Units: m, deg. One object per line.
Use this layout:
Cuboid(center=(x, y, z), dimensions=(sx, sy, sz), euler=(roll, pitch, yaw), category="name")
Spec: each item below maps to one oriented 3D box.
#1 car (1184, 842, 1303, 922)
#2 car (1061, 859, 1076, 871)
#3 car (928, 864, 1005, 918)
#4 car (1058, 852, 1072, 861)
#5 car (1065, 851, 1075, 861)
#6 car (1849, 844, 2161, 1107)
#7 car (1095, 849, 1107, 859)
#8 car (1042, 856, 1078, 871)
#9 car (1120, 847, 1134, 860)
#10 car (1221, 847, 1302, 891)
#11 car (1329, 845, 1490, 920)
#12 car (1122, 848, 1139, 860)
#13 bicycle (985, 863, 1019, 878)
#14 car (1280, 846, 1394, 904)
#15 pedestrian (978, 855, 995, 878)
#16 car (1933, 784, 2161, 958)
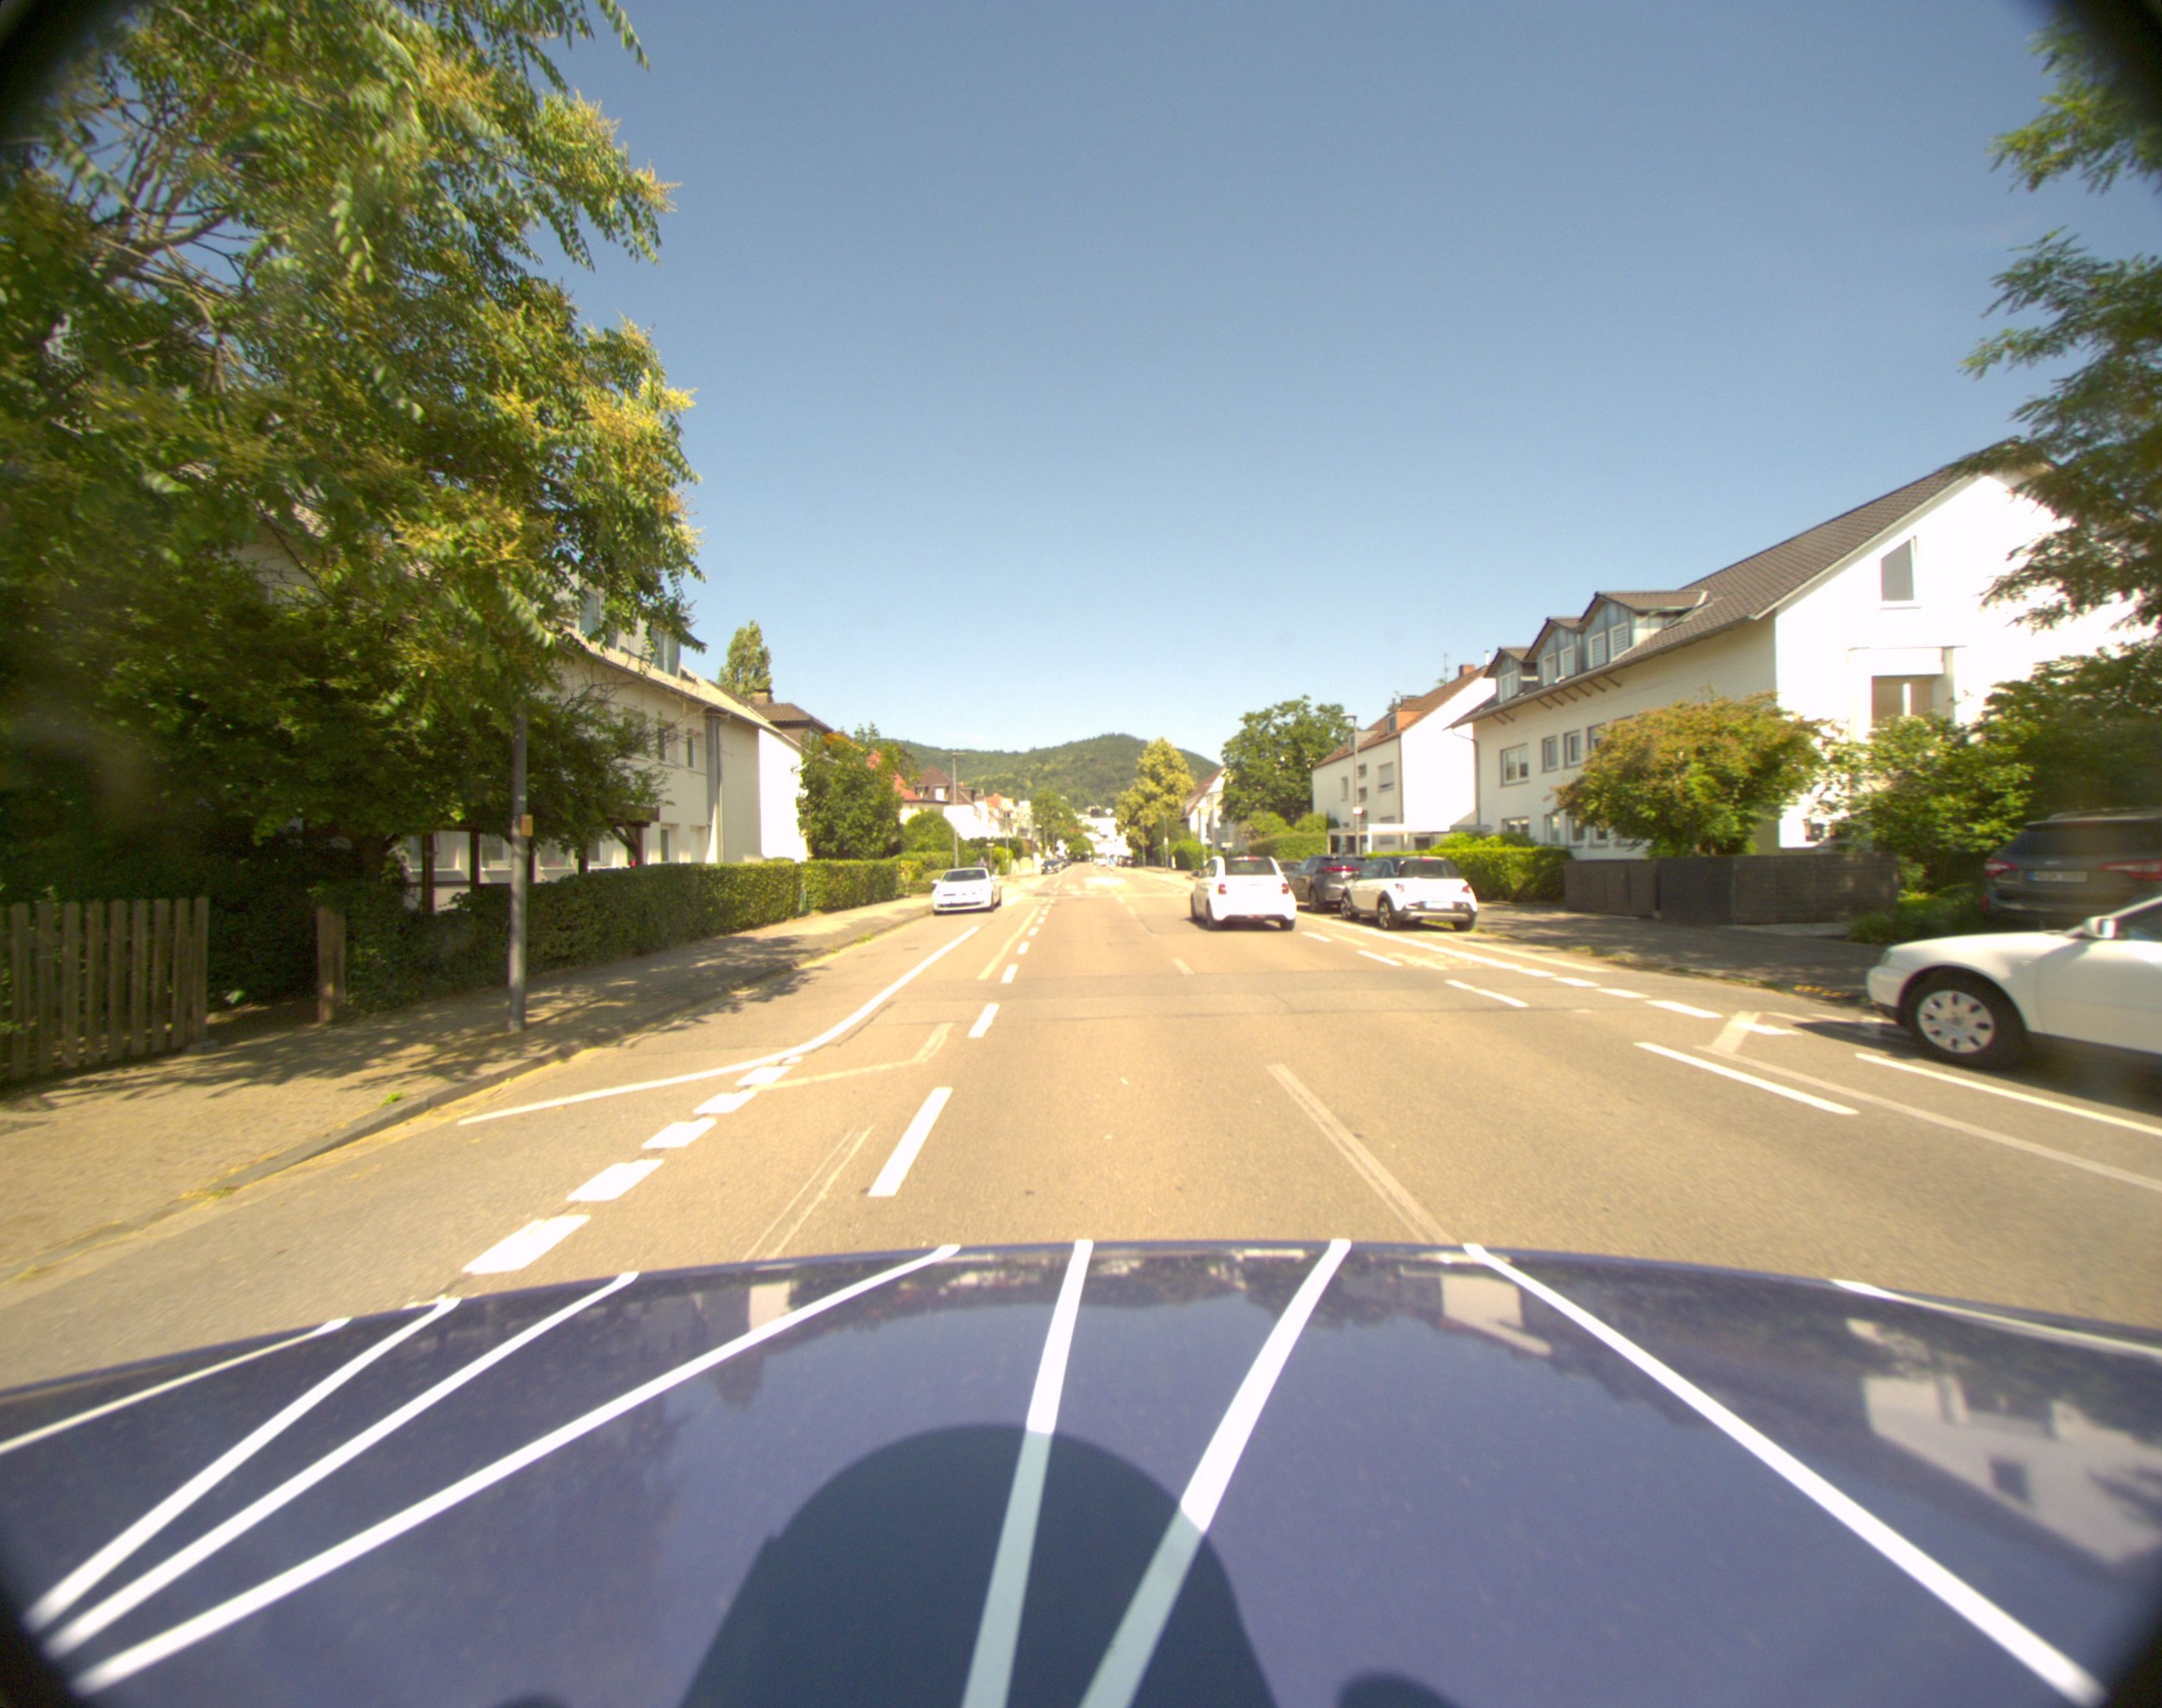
Cuboid(center=(3.375, 0.527, 16.521), dimensions=(1.736, 1.532, 4.000), euler=(0, 0, 0), category="car")
Cuboid(center=(-1.635, 1.430, 98.245), dimensions=(1.741, 1.321, 4.075), euler=(-4, 1, 0), category="car")
Cuboid(center=(-3.473, 1.089, 23.801), dimensions=(1.745, 1.394, 4.073), euler=(-3, 0, 0), category="car")
Cuboid(center=(-2.647, 0.452, 125.123), dimensions=(1.622, 1.440, 4.002), euler=(-2, 0, 8), category="car")
Cuboid(center=(-2.062, 0.383, 140.154), dimensions=(1.701, 1.573, 4.900), euler=(-4, 0, -2), category="car")
Cuboid(center=(6.790, 0.683, 3.783), dimensions=(1.790, 1.432, 3.999), euler=(1, 1, -1), category="car")
Cuboid(center=(3.227, -0.026, 123.929), dimensions=(1.920, 1.657, 4.505), euler=(0, 0, 0), category="car")
Cuboid(center=(-2.102, 0.972, 78.480), dimensions=(1.737, 1.459, 4.354), euler=(0, 0, 30), category="car")
Cuboid(center=(7.342, -0.108, 121.724), dimensions=(1.889, 1.908, 4.869), euler=(-3, -1, 1), category="car")
Cuboid(center=(6.335, 0.503, 27.114), dimensions=(1.790, 1.431, 4.154), euler=(0, 0, -2), category="car")
Cuboid(center=(6.859, 0.543, 16.359), dimensions=(1.789, 1.431, 4.000), euler=(0, 0, 1), category="car")
Cuboid(center=(7.019, 0.042, 108.342), dimensions=(1.856, 1.601, 4.447), euler=(-2, 0, -2), category="car")
Cuboid(center=(-6.318, 1.327, 60.857), dimensions=(2.704, 1.151, 0.865), euler=(-1, 1, 33), category="bicycle")
Cuboid(center=(6.816, 0.515, 20.666), dimensions=(1.789, 1.431, 4.111), euler=(0, 0, 1), category="car")
Cuboid(center=(-7.561, 0.996, 60.811), dimensions=(0.903, 1.862, 1.186), euler=(-2, 1, -33), category="pedestrian")
Cuboid(center=(12.800, 0.130, 8.614), dimensions=(3.997, 1.749, 2.000), euler=(-1, 0, 1), category="car")
